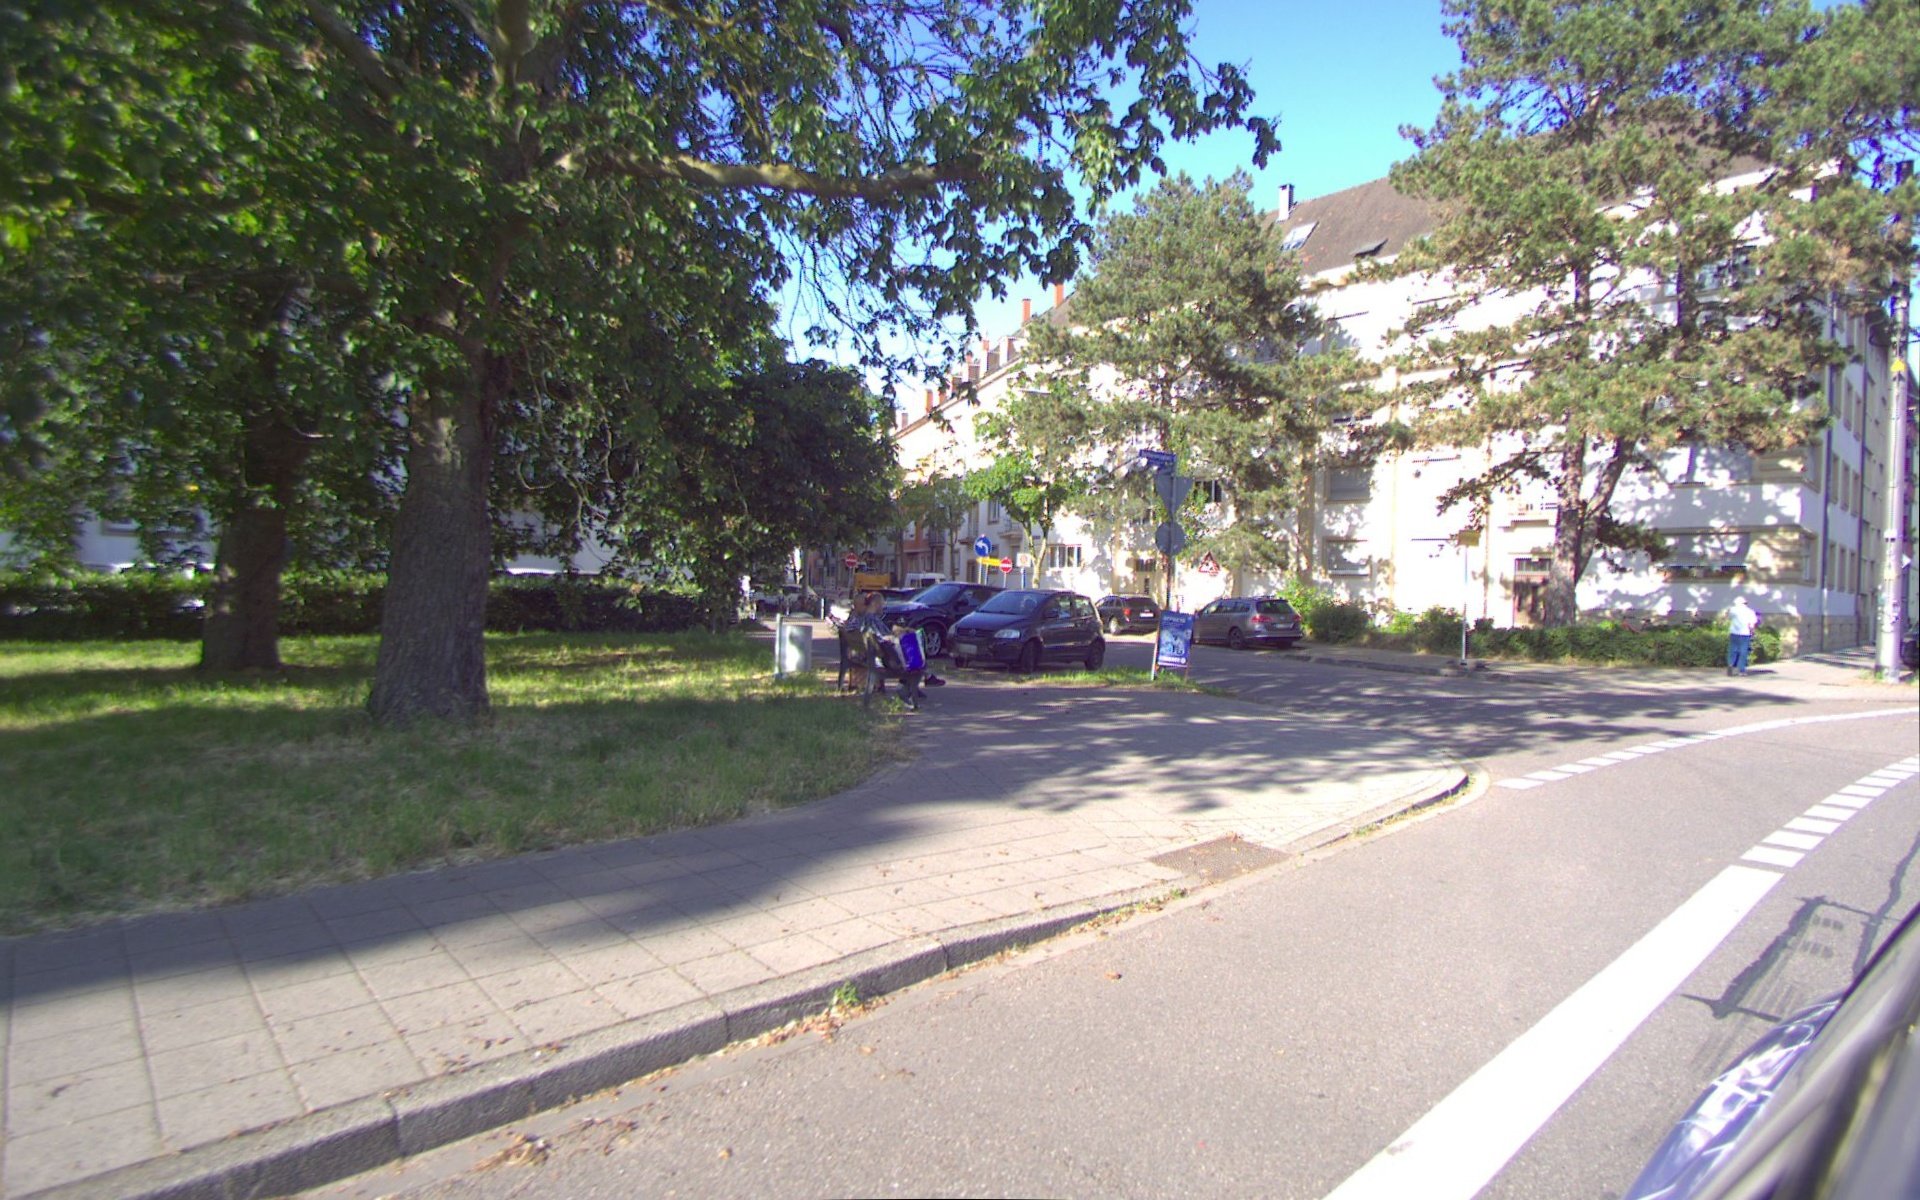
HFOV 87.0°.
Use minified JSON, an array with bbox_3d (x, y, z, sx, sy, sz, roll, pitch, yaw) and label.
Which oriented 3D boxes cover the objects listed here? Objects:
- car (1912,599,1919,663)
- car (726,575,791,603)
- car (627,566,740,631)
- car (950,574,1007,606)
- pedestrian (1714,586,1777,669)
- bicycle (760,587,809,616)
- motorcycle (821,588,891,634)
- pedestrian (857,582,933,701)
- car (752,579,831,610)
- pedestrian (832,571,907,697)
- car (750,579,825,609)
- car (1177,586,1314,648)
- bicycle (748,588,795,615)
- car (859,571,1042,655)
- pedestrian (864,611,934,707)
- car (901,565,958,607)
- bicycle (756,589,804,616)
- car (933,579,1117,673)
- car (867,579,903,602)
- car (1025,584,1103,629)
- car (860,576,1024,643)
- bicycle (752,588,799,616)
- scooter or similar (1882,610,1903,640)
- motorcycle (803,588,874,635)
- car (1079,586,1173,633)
[{"bbox_3d":[28.478,0.930,28.520,4.848,1.737,1.883,1,4,-42],"label":"car"},{"bbox_3d":[-12.966,-0.691,65.083,3.916,1.728,2.003,0,-1,-16],"label":"car"},{"bbox_3d":[-7.306,-0.078,26.579,1.548,1.387,3.356,1,4,-41],"label":"car"},{"bbox_3d":[0.959,-0.514,54.712,1.762,1.632,4.007,0,-1,-19],"label":"car"},{"bbox_3d":[17.107,0.592,22.047,0.711,1.744,0.883,2,0,-37],"label":"pedestrian"},{"bbox_3d":[-7.624,0.073,44.077,2.019,1.204,0.598,0,-2,-26],"label":"bicycle"},{"bbox_3d":[-2.825,0.299,27.324,1.771,1.085,0.706,5,1,32],"label":"motorcycle"},{"bbox_3d":[-0.704,0.435,10.838,0.745,1.242,0.405,0,-2,-15],"label":"pedestrian"},{"bbox_3d":[-8.933,-0.258,53.512,3.916,1.572,1.821,0,-1,-16],"label":"car"},{"bbox_3d":[-1.042,0.379,11.522,0.739,1.391,0.688,0,-2,-15],"label":"pedestrian"},{"bbox_3d":[-9.483,-0.311,55.575,3.916,1.572,1.821,0,-1,-16],"label":"car"},{"bbox_3d":[8.216,0.426,29.559,1.732,1.520,4.315,-2,2,-18],"label":"car"},{"bbox_3d":[-8.599,0.092,46.130,2.019,1.204,0.598,0,-2,-26],"label":"bicycle"},{"bbox_3d":[-0.155,0.264,21.398,3.739,1.592,1.455,1,1,-39],"label":"car"},{"bbox_3d":[-0.627,0.603,10.377,0.610,0.946,0.405,2,-2,-15],"label":"pedestrian"},{"bbox_3d":[-1.976,-0.842,63.917,2.081,2.474,5.328,0,-1,-19],"label":"car"},{"bbox_3d":[-7.977,0.114,44.843,2.019,1.204,0.598,0,-2,-26],"label":"bicycle"},{"bbox_3d":[1.299,0.429,18.830,1.631,1.513,3.759,3,1,36],"label":"car"},{"bbox_3d":[-5.722,-0.677,77.188,1.762,1.632,4.007,0,-1,-19],"label":"car"},{"bbox_3d":[4.301,0.253,42.505,1.732,1.733,3.920,2,0,-18],"label":"car"},{"bbox_3d":[-0.355,0.227,25.017,1.635,1.458,4.176,3,1,42],"label":"car"},{"bbox_3d":[-8.301,0.094,45.522,2.019,1.204,0.598,0,-2,-26],"label":"bicycle"},{"bbox_3d":[41.283,1.103,44.792,1.316,1.253,0.459,1,4,-42],"label":"scooter or similar"},{"bbox_3d":[-3.204,0.283,26.683,1.771,1.085,0.706,5,1,32],"label":"motorcycle"},{"bbox_3d":[6.028,0.327,37.130,1.732,1.488,3.922,2,2,-18],"label":"car"}]
